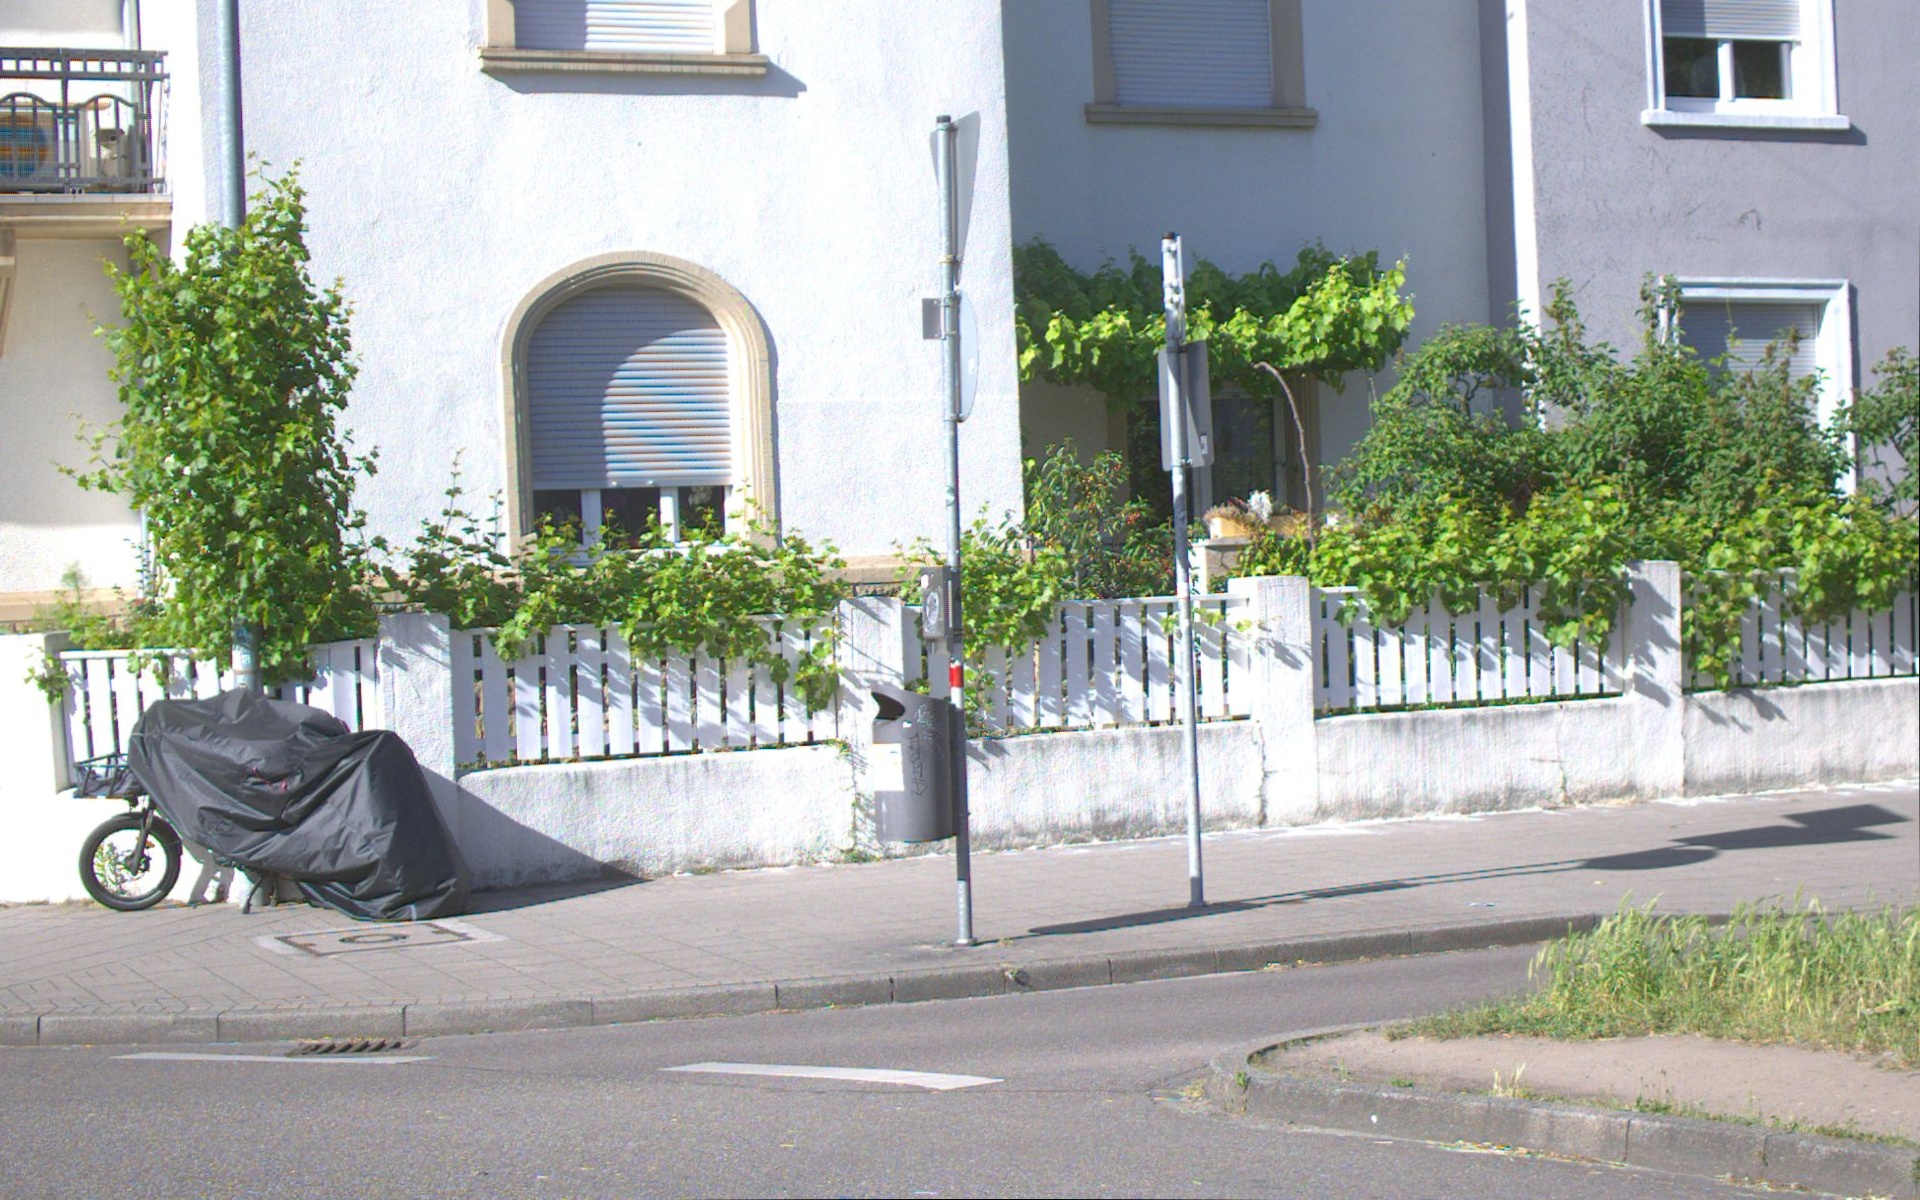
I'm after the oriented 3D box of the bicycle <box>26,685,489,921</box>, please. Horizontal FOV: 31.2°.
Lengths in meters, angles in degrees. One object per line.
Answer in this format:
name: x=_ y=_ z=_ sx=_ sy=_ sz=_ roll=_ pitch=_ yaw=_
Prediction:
bicycle: x=-3.654 y=1.044 z=17.872 sx=2.281 sy=1.153 sz=0.766 roll=-1 pitch=-1 yaw=21
